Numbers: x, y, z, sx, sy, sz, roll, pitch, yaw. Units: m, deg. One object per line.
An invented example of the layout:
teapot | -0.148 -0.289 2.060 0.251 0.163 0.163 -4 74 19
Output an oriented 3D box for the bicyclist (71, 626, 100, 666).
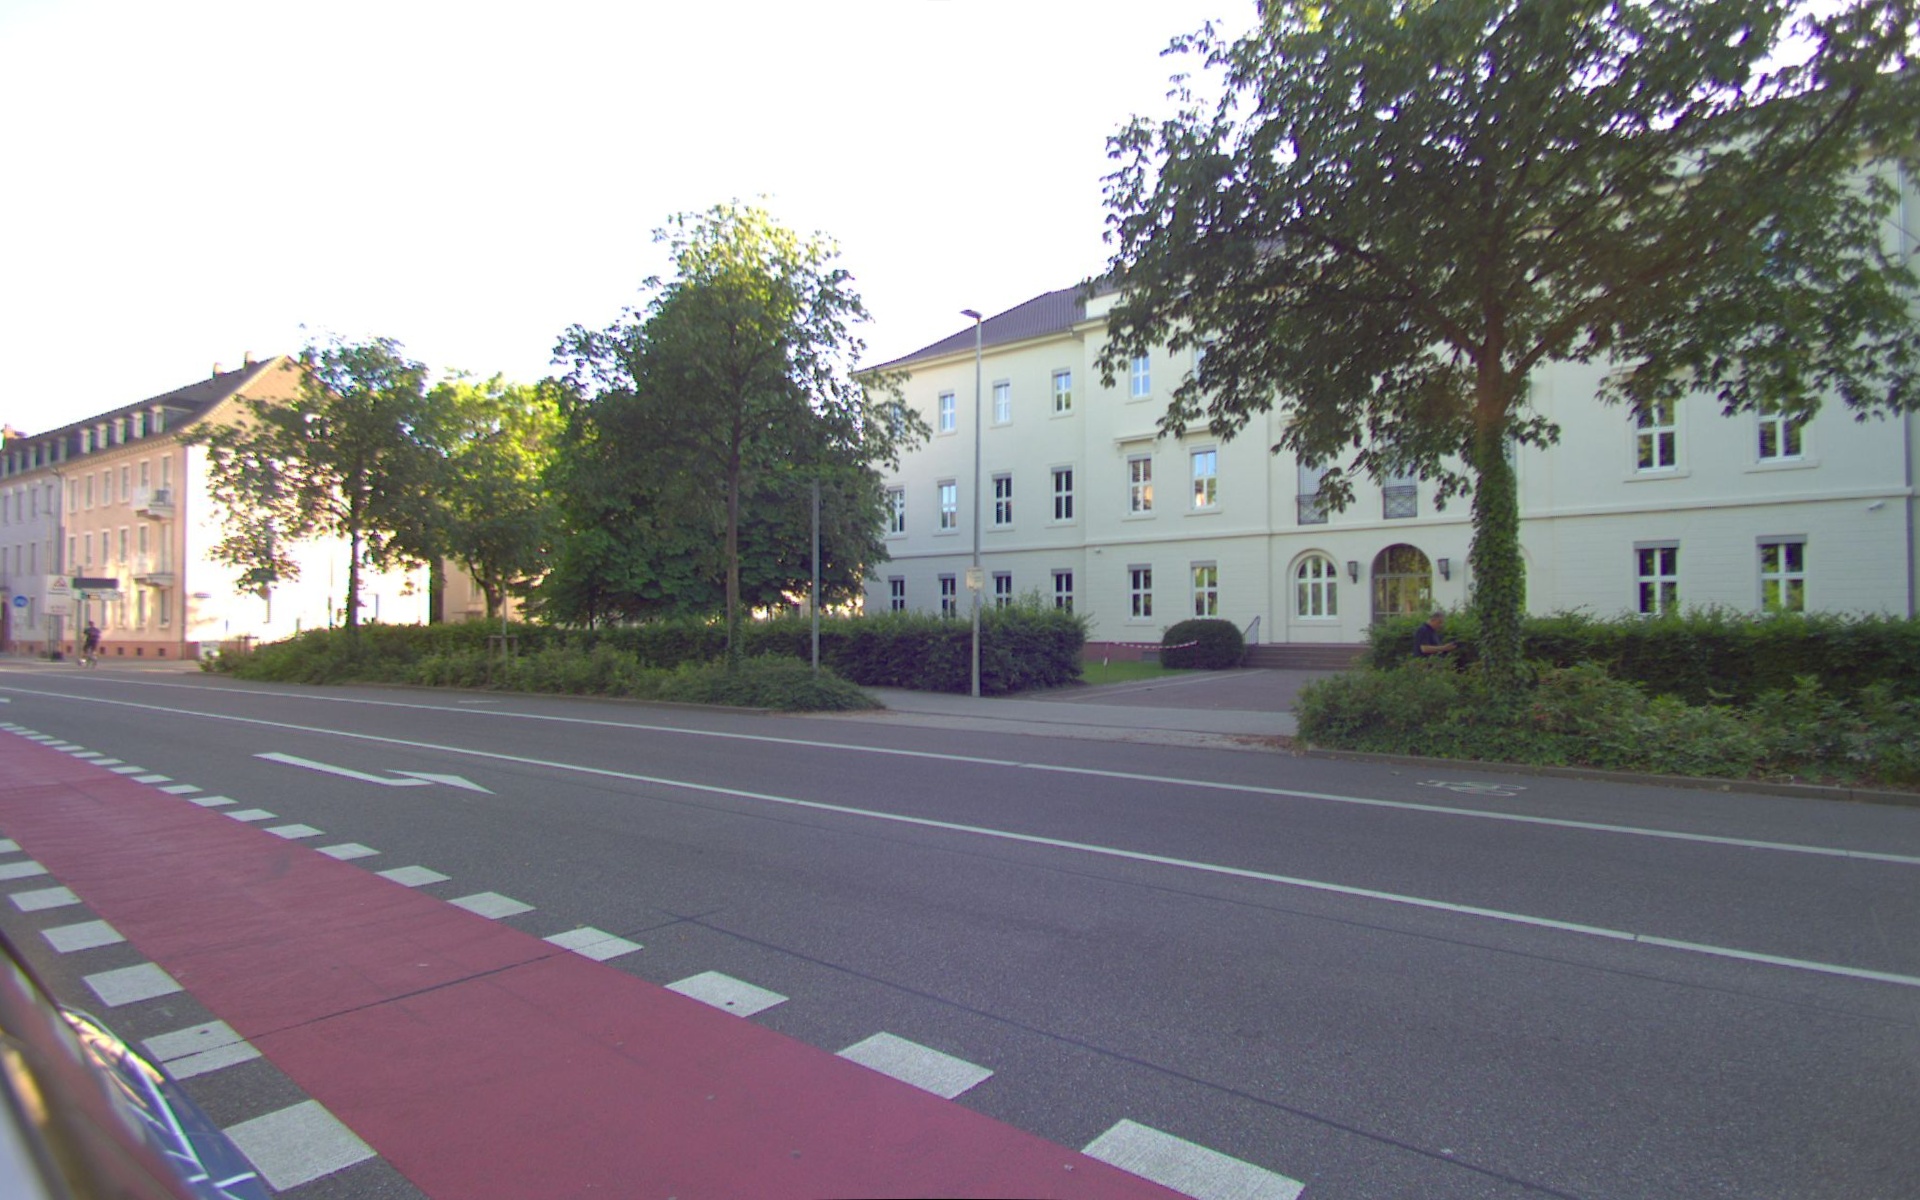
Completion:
bicyclist | -34.998 1.846 40.500 0.837 1.574 0.683 -2 -4 37

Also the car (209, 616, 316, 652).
car | -34.782 1.659 50.530 1.993 1.674 3.958 -1 -1 31

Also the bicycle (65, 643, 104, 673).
bicycle | -35.069 2.319 40.530 2.242 1.168 0.688 -2 -4 38

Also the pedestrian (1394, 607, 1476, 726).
pedestrian | 7.199 0.990 15.343 0.966 1.733 0.827 -2 -3 37
